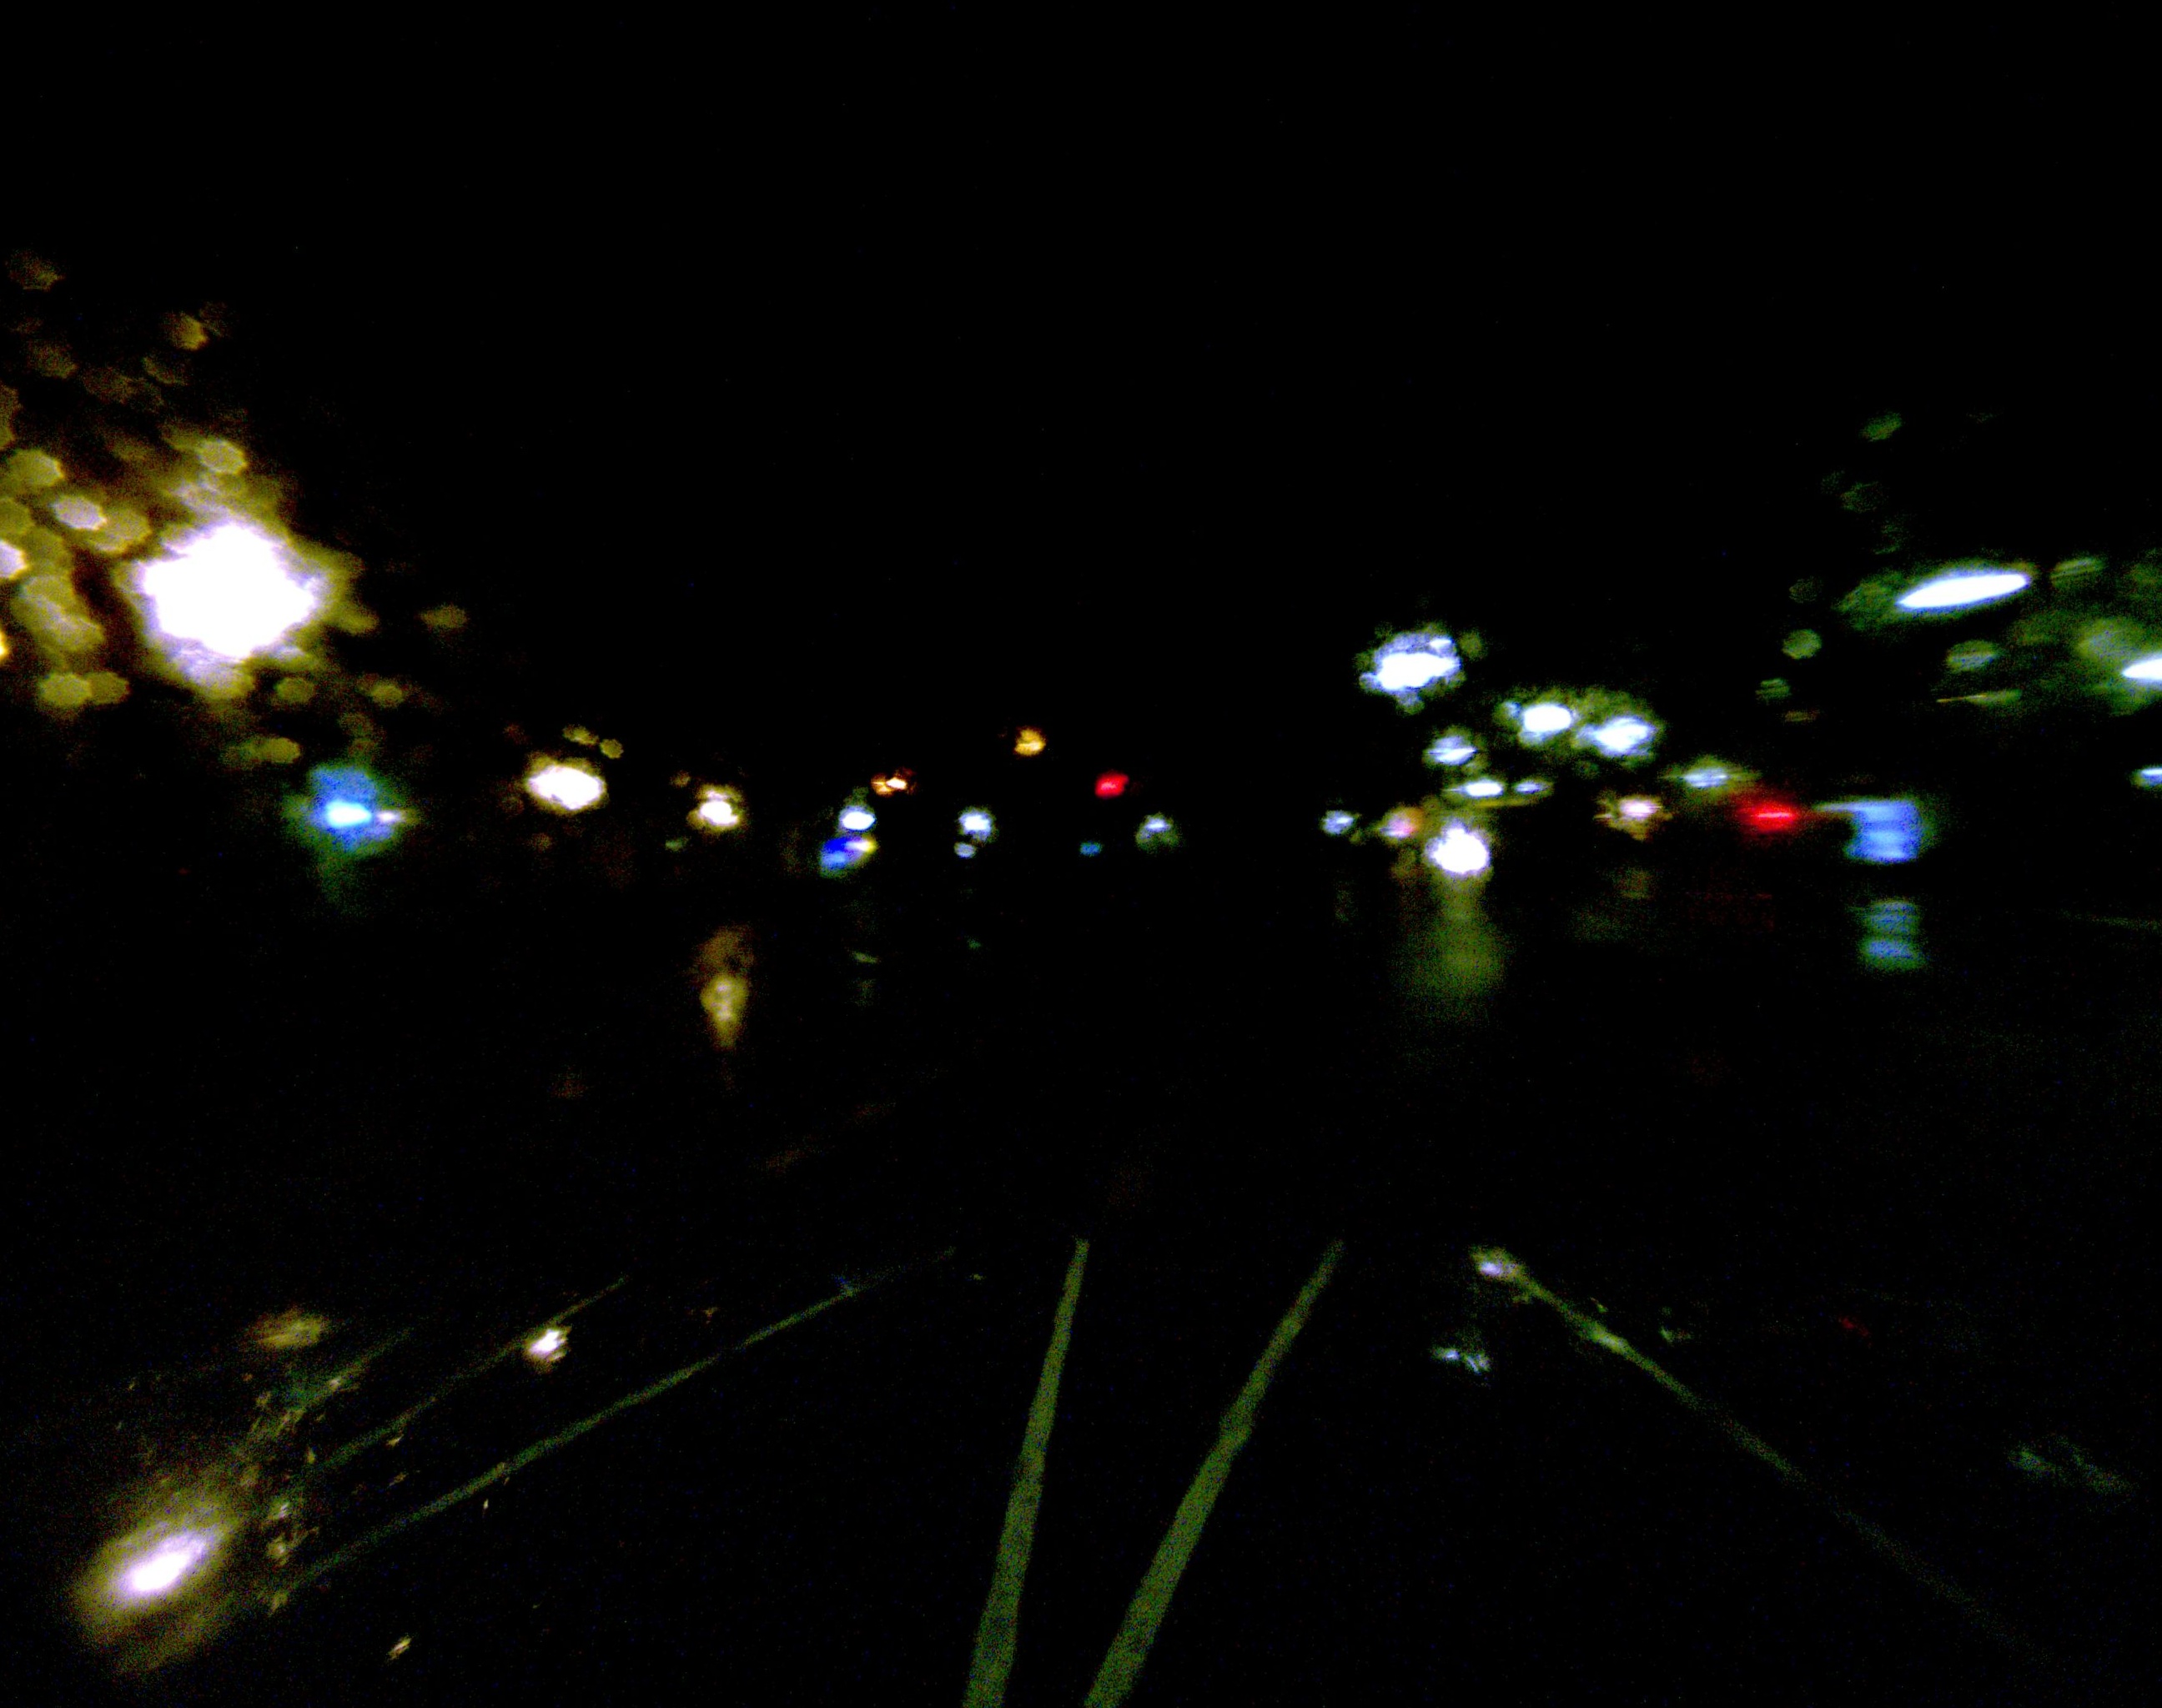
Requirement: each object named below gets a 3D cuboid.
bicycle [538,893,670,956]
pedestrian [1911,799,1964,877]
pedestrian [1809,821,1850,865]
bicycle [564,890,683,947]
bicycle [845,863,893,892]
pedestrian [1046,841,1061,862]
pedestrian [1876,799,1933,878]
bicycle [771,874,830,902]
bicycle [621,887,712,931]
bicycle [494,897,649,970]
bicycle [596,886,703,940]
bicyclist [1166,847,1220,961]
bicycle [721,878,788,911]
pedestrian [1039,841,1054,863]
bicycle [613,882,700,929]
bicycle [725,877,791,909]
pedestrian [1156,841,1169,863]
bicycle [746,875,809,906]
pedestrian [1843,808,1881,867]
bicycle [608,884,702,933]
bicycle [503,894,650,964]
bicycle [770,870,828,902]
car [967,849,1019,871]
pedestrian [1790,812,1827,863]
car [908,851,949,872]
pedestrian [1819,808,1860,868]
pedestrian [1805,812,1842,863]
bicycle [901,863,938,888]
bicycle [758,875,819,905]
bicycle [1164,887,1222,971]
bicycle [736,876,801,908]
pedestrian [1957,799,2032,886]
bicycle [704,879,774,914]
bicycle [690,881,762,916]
[{"bbox_3d":[-9.049,1.319,14.498,1.976,1.001,0.641,-2,1,-18],"label":"bicycle"},{"bbox_3d":[20.383,-0.381,18.100,0.715,1.764,0.672,-4,1,45],"label":"pedestrian"},{"bbox_3d":[22.147,-0.309,22.485,0.585,1.246,0.623,-5,1,-18],"label":"pedestrian"},{"bbox_3d":[-9.514,1.323,15.881,1.976,1.001,0.641,-2,1,-18],"label":"bicycle"},{"bbox_3d":[-9.459,1.047,33.888,1.872,1.210,0.731,-2,1,11],"label":"bicycle"},{"bbox_3d":[-2.223,-0.228,61.163,0.635,1.628,0.841,-6,1,-40],"label":"pedestrian"},{"bbox_3d":[21.370,-0.403,19.727,0.608,1.975,0.860,-5,1,22],"label":"pedestrian"},{"bbox_3d":[-10.506,1.277,28.519,1.929,0.982,0.731,-2,1,11],"label":"bicycle"},{"bbox_3d":[-10.244,1.353,18.786,1.972,1.001,0.643,-2,1,11],"label":"bicycle"},{"bbox_3d":[-8.369,1.286,12.568,1.976,1.001,0.641,-2,1,-18],"label":"bicycle"},{"bbox_3d":[-9.746,1.322,17.240,1.976,1.059,0.641,-2,1,-18],"label":"bicycle"},{"bbox_3d":[1.627,0.701,10.966,0.571,1.539,0.817,-4,1,15],"label":"bicyclist"},{"bbox_3d":[-10.681,1.320,24.879,1.972,1.001,0.643,-2,1,11],"label":"bicycle"},{"bbox_3d":[-2.762,-0.174,60.752,0.635,1.628,0.872,-6,1,-40],"label":"pedestrian"},{"bbox_3d":[-11.110,1.334,19.935,1.826,1.081,0.720,-2,1,-17],"label":"bicycle"},{"bbox_3d":[-10.850,1.316,25.566,1.972,1.001,0.643,-2,1,11],"label":"bicycle"},{"bbox_3d":[5.934,-0.135,55.310,0.767,1.485,0.635,-5,1,12],"label":"pedestrian"},{"bbox_3d":[-10.764,1.306,26.963,1.972,1.001,0.643,-2,1,11],"label":"bicycle"},{"bbox_3d":[21.765,-0.453,21.185,0.400,1.620,0.532,-5,1,-18],"label":"pedestrian"},{"bbox_3d":[-10.614,1.338,18.955,1.978,1.047,0.641,-3,2,-33],"label":"bicycle"},{"bbox_3d":[-8.723,1.275,13.224,1.976,1.029,0.641,-2,1,-18],"label":"bicycle"},{"bbox_3d":[-10.796,1.228,29.117,1.929,1.108,0.731,-2,1,11],"label":"bicycle"},{"bbox_3d":[-7.331,0.499,63.175,1.892,1.584,4.484,-6,2,-42],"label":"car"},{"bbox_3d":[22.919,-0.513,23.943,0.511,1.538,0.575,-5,1,8],"label":"pedestrian"},{"bbox_3d":[-14.291,0.724,71.095,1.884,1.694,4.275,-6,2,-40],"label":"car"},{"bbox_3d":[21.688,-0.456,21.731,0.585,1.642,0.559,-5,1,-18],"label":"pedestrian"},{"bbox_3d":[22.832,-0.499,23.372,0.479,1.519,0.586,-5,1,8],"label":"pedestrian"},{"bbox_3d":[-7.969,1.060,37.421,1.622,1.076,0.565,-3,4,10],"label":"bicycle"},{"bbox_3d":[-10.636,1.292,27.668,1.972,1.001,0.688,-2,1,11],"label":"bicycle"},{"bbox_3d":[1.647,1.037,10.967,0.571,0.963,1.782,-4,1,15],"label":"bicycle"},{"bbox_3d":[-10.776,1.310,26.215,1.972,1.001,0.643,-2,1,11],"label":"bicycle"},{"bbox_3d":[19.579,-0.247,16.300,0.670,1.764,0.718,-5,1,16],"label":"pedestrian"},{"bbox_3d":[-10.871,1.343,24.155,1.972,1.028,0.643,-2,1,11],"label":"bicycle"},{"bbox_3d":[-10.941,1.370,23.453,1.972,1.001,0.643,-2,1,11],"label":"bicycle"}]
